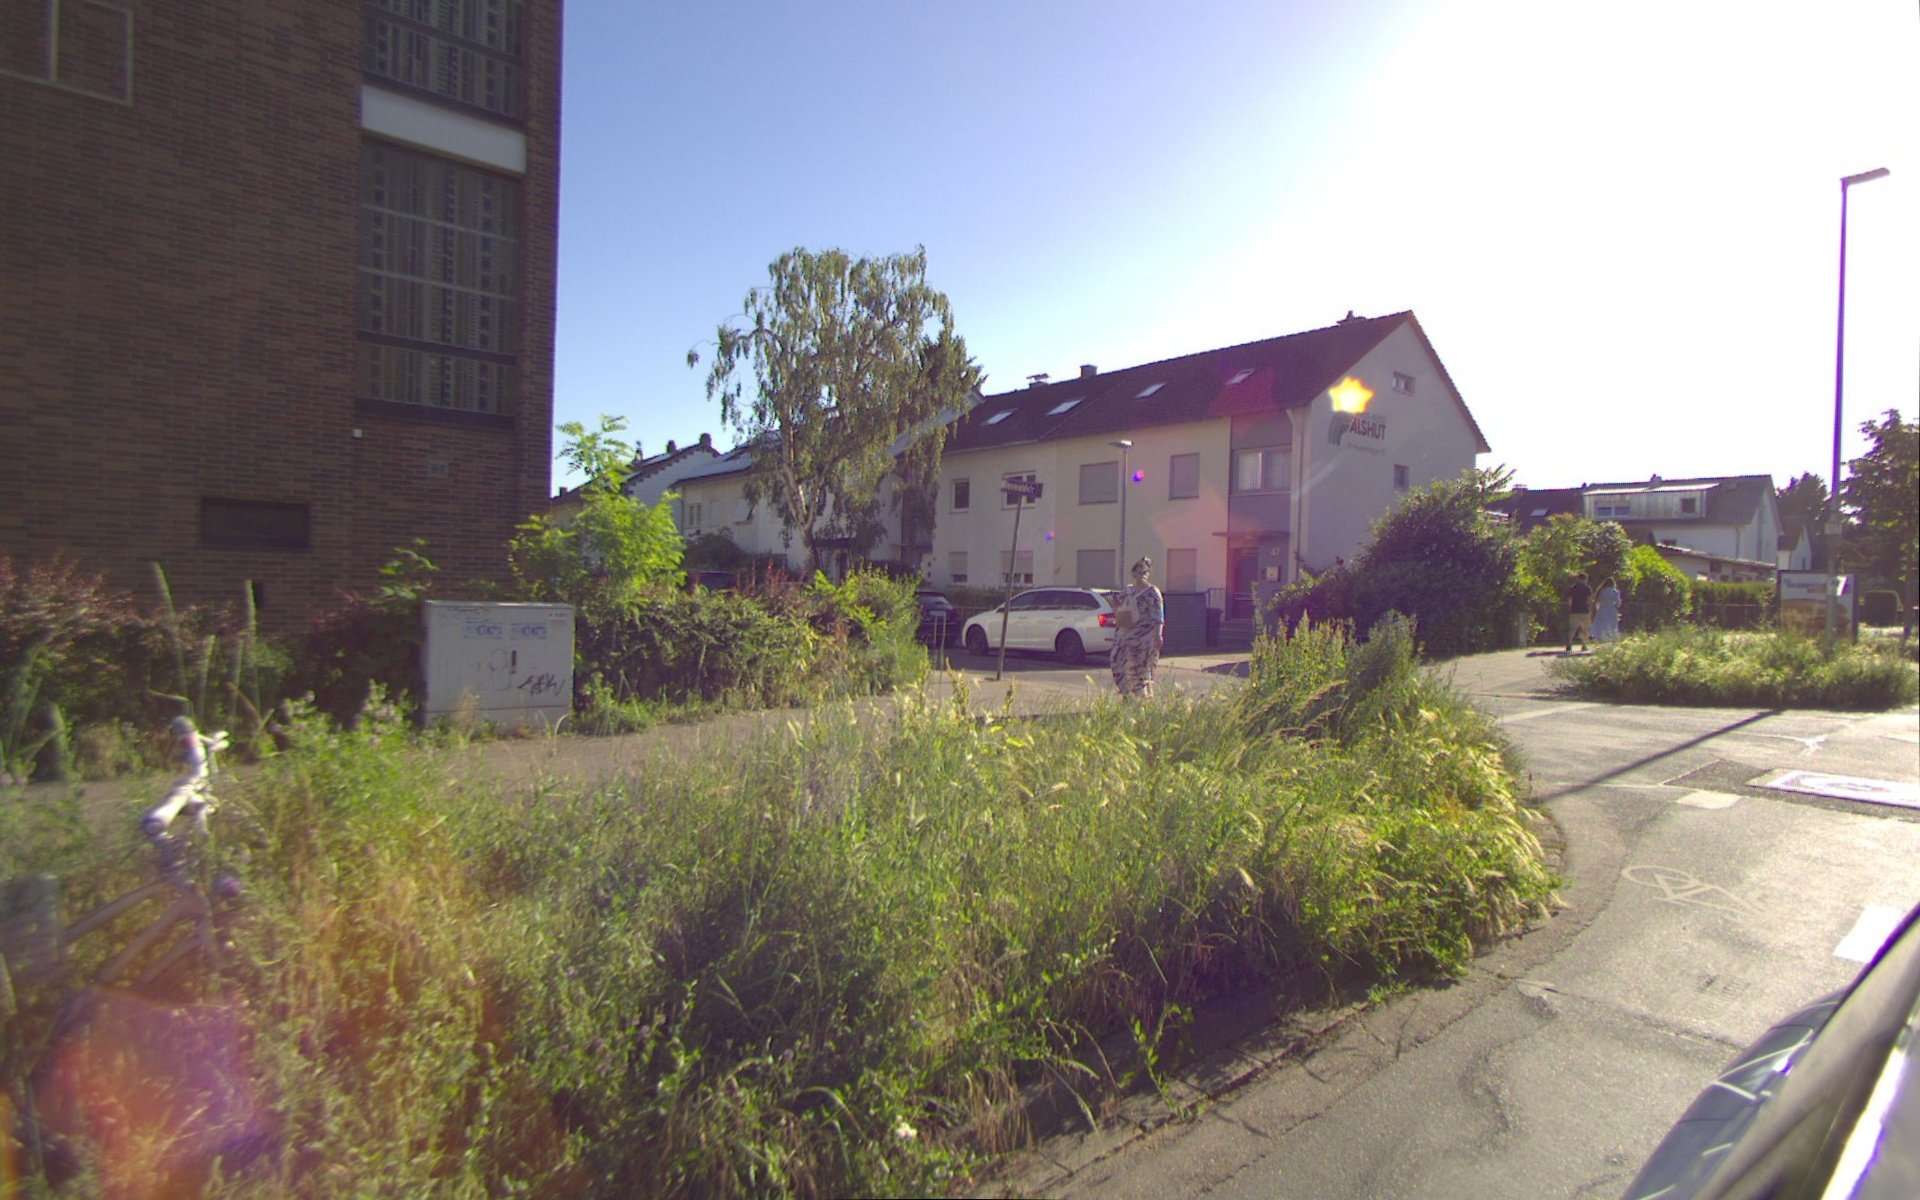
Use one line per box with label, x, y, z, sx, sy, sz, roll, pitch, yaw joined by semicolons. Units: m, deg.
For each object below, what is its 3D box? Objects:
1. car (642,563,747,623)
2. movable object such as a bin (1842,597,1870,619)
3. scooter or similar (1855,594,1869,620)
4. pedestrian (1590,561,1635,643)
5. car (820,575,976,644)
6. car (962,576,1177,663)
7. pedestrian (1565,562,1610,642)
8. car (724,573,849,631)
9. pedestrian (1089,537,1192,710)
car;-8.756;-0.258;33.190;1.774;1.816;3.951;2;0;-40
movable object such as a bin;56.765;0.476;64.120;0.912;1.310;1.171;0;2;-41
scooter or similar;48.306;0.370;54.183;0.454;1.311;0.502;0;2;-44
pedestrian;14.152;0.039;21.962;0.647;1.754;0.557;0;0;-24
car;-1.576;0.187;24.547;1.774;1.521;3.951;2;0;-40
car;2.081;0.327;20.260;1.774;1.521;4.203;2;0;-40
pedestrian;13.968;0.039;22.546;0.626;1.754;0.609;0;0;-24
car;-5.025;0.025;29.031;1.774;1.521;3.951;2;0;-40
pedestrian;2.027;0.244;11.384;0.899;1.844;0.724;0;0;44
